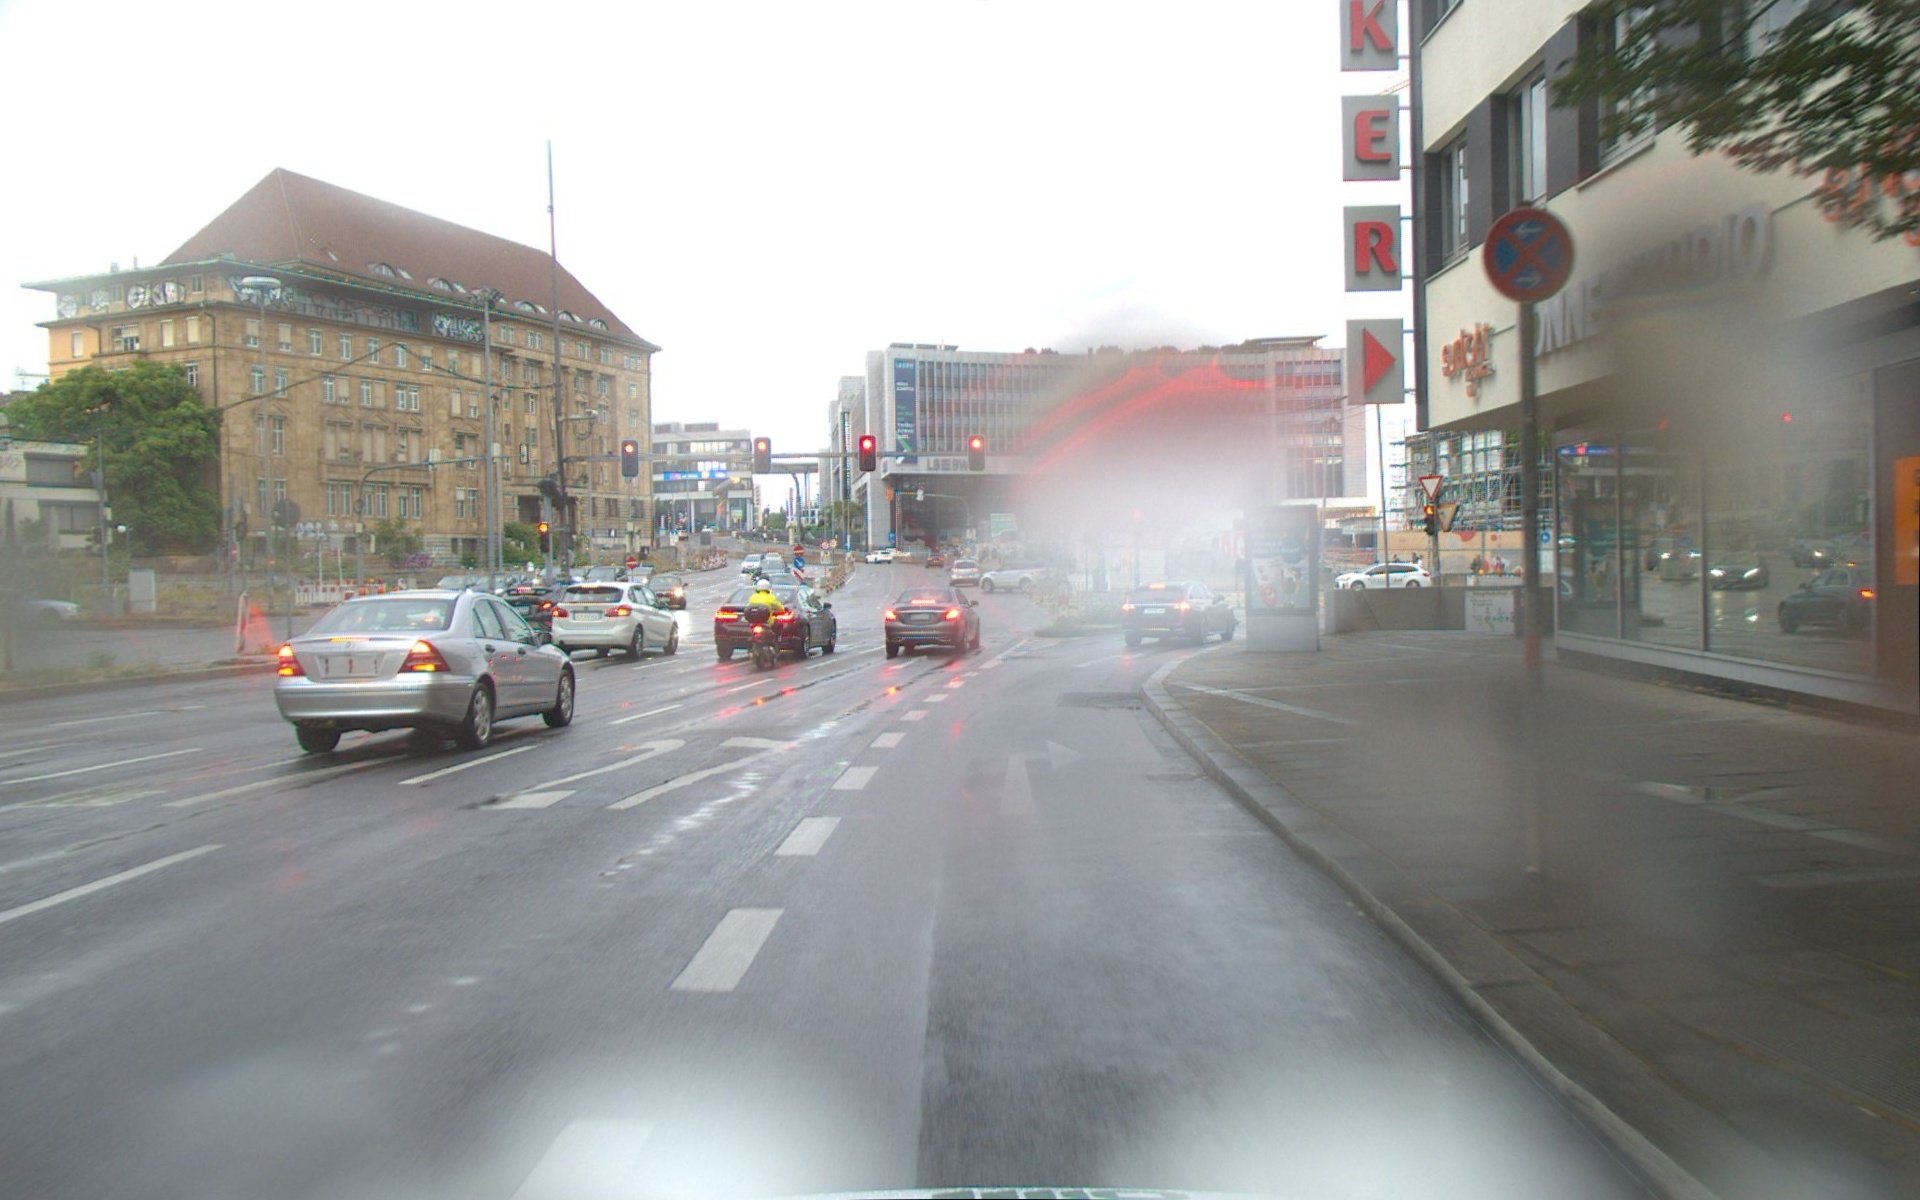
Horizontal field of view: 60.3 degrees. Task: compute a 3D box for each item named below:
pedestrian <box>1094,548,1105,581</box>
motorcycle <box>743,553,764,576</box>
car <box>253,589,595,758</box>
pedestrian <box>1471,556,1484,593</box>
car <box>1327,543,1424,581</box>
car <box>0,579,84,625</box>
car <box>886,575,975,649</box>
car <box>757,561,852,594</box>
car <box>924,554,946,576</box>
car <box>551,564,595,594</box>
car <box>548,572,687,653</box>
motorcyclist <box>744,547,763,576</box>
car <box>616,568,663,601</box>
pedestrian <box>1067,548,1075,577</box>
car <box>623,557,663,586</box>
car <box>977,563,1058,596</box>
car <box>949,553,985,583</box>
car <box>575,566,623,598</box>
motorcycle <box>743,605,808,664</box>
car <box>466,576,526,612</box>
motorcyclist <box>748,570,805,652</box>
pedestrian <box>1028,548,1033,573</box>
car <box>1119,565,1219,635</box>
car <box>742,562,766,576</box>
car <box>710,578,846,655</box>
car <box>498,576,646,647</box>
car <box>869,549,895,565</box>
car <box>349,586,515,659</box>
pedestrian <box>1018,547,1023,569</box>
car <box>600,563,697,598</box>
[{"bbox_3d":[8.293,-2.127,98.569,0.358,1.931,0.569,0,0,-34],"label":"pedestrian"},{"bbox_3d":[-10.033,-1.716,80.284,0.833,1.128,2.136,0,0,-12],"label":"motorcycle"},{"bbox_3d":[-5.070,0.612,16.328,1.696,1.428,4.385,0,0,4],"label":"car"},{"bbox_3d":[27.033,-1.317,86.409,0.563,1.931,0.362,0,0,1],"label":"pedestrian"},{"bbox_3d":[20.198,-1.854,80.531,4.311,1.796,2.001,0,0,6],"label":"car"},{"bbox_3d":[-35.422,0.068,61.937,4.311,1.691,1.991,0,0,-17],"label":"car"},{"bbox_3d":[-0.604,0.217,37.094,1.746,1.426,4.489,0,2,2],"label":"car"},{"bbox_3d":[-6.790,-0.960,71.936,4.042,1.368,1.987,0,1,44],"label":"car"},{"bbox_3d":[-2.460,-3.436,161.846,1.954,2.049,3.997,0,0,-4],"label":"car"},{"bbox_3d":[-21.656,-1.161,92.742,1.663,1.601,3.998,0,0,-2],"label":"car"},{"bbox_3d":[-7.250,0.233,35.394,1.696,1.644,4.003,0,0,7],"label":"car"},{"bbox_3d":[-10.040,-1.884,80.264,0.832,1.382,0.945,0,0,-13],"label":"motorcyclist"},{"bbox_3d":[-16.490,-0.817,85.293,1.785,1.511,3.999,-2,2,-3],"label":"car"},{"bbox_3d":[7.459,-2.512,111.332,0.355,1.931,0.574,0,0,-13],"label":"pedestrian"},{"bbox_3d":[-18.338,-1.634,95.870,1.663,1.601,3.998,0,0,-2],"label":"car"},{"bbox_3d":[3.006,-1.079,86.997,3.926,1.668,1.989,0,1,41],"label":"car"},{"bbox_3d":[0.400,-2.007,103.182,1.696,1.668,3.428,0,4,-10],"label":"car"},{"bbox_3d":[-18.789,-0.938,86.302,1.765,1.601,4.073,0,0,-2],"label":"car"},{"bbox_3d":[-3.451,0.634,31.165,0.922,1.006,2.295,0,1,1],"label":"motorcycle"},{"bbox_3d":[-21.613,-0.319,77.128,1.663,1.545,3.874,-3,1,-1],"label":"car"},{"bbox_3d":[-3.444,0.201,31.175,0.922,1.501,1.100,0,0,1],"label":"motorcyclist"},{"bbox_3d":[5.570,-3.103,130.797,0.354,1.931,0.576,0,0,-5],"label":"pedestrian"},{"bbox_3d":[4.988,-0.015,39.079,1.851,1.571,3.997,0,0,14],"label":"car"},{"bbox_3d":[-19.168,-2.906,154.325,1.731,1.282,4.194,0,0,0],"label":"car"},{"bbox_3d":[-3.815,0.304,35.579,1.847,1.541,5.006,0,0,6],"label":"car"},{"bbox_3d":[-9.312,0.249,40.036,1.745,1.627,4.076,0,0,15],"label":"car"},{"bbox_3d":[-9.156,-5.043,193.670,1.964,1.847,3.976,0,0,-20],"label":"car"},{"bbox_3d":[-10.689,0.410,33.792,1.745,1.397,3.996,0,0,6],"label":"car"},{"bbox_3d":[5.255,-3.630,143.981,0.354,1.931,0.576,0,0,-5],"label":"pedestrian"},{"bbox_3d":[-13.819,-0.845,73.320,4.029,1.533,1.993,0,1,35],"label":"car"}]
